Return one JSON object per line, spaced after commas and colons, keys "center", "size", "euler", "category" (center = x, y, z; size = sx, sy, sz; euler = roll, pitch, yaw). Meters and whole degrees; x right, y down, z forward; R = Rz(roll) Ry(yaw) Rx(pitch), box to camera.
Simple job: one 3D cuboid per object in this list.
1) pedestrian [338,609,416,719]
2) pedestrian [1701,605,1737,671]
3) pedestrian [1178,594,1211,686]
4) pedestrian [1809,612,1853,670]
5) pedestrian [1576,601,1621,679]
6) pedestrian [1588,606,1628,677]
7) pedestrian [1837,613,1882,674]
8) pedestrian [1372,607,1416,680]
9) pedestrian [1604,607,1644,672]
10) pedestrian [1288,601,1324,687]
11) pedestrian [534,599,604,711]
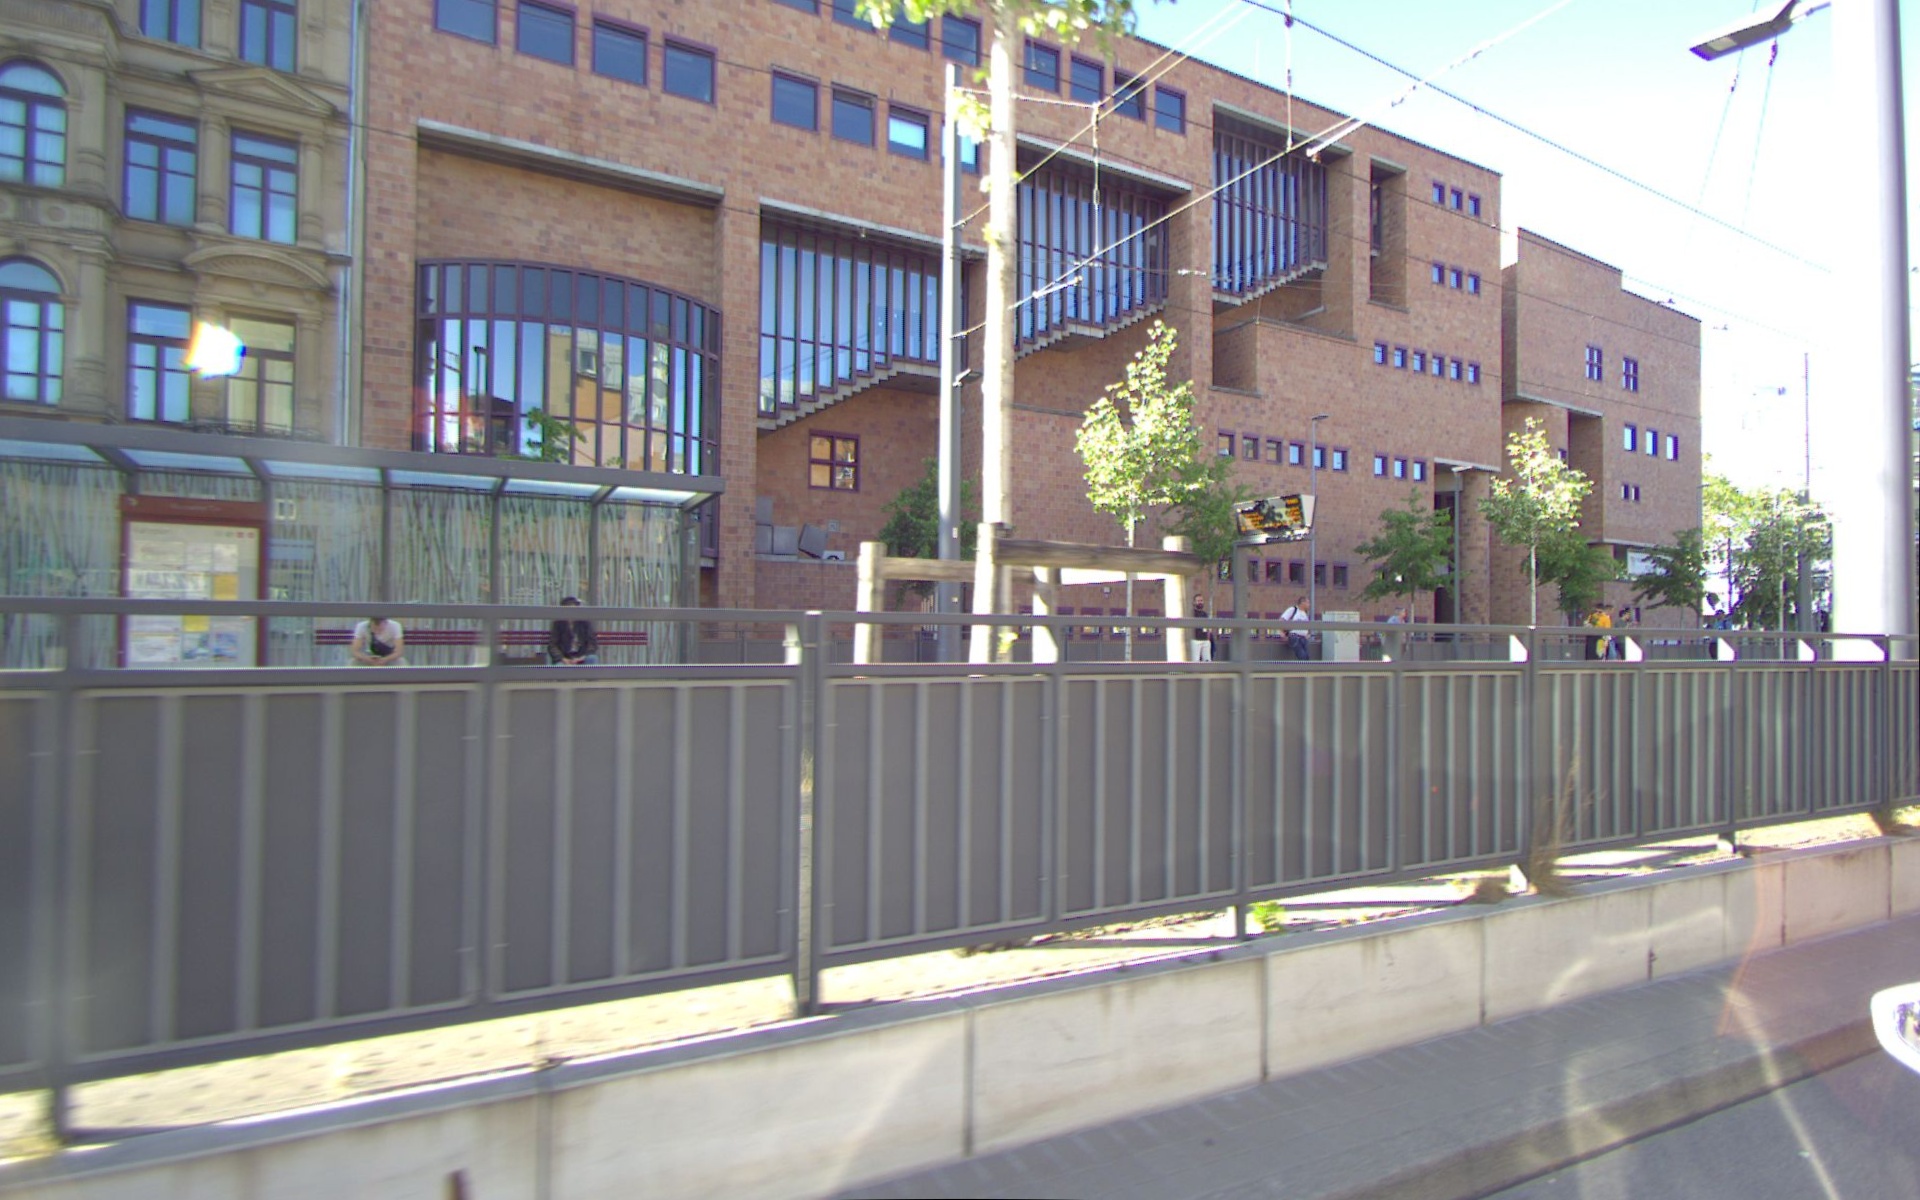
{"center": [-6.533, 0.714, 11.287], "size": [0.712, 1.183, 0.718], "euler": [1, -4, -28], "category": "pedestrian"}
{"center": [20.795, 1.031, 27.522], "size": [0.608, 1.761, 0.579], "euler": [1, -1, -28], "category": "pedestrian"}
{"center": [4.287, 0.722, 18.393], "size": [0.411, 1.670, 0.376], "euler": [1, 0, -28], "category": "pedestrian"}
{"center": [24.932, 1.173, 28.763], "size": [0.934, 1.629, 0.637], "euler": [1, 0, -28], "category": "pedestrian"}
{"center": [14.285, 0.882, 22.483], "size": [0.534, 1.718, 0.637], "euler": [1, 0, -28], "category": "pedestrian"}
{"center": [16.150, 1.026, 25.028], "size": [0.608, 1.737, 0.620], "euler": [1, -1, -28], "category": "pedestrian"}
{"center": [25.232, 1.220, 28.189], "size": [0.934, 1.665, 0.637], "euler": [1, 0, -28], "category": "pedestrian"}
{"center": [8.995, 0.898, 20.828], "size": [0.634, 1.479, 0.537], "euler": [1, 0, -28], "category": "pedestrian"}
{"center": [16.871, 0.987, 25.526], "size": [0.608, 1.633, 0.620], "euler": [1, -1, -28], "category": "pedestrian"}
{"center": [6.736, 0.844, 19.553], "size": [0.546, 1.643, 0.376], "euler": [1, 0, -28], "category": "pedestrian"}
{"center": [-4.805, 0.676, 12.330], "size": [0.713, 1.326, 0.643], "euler": [1, -4, -28], "category": "pedestrian"}
